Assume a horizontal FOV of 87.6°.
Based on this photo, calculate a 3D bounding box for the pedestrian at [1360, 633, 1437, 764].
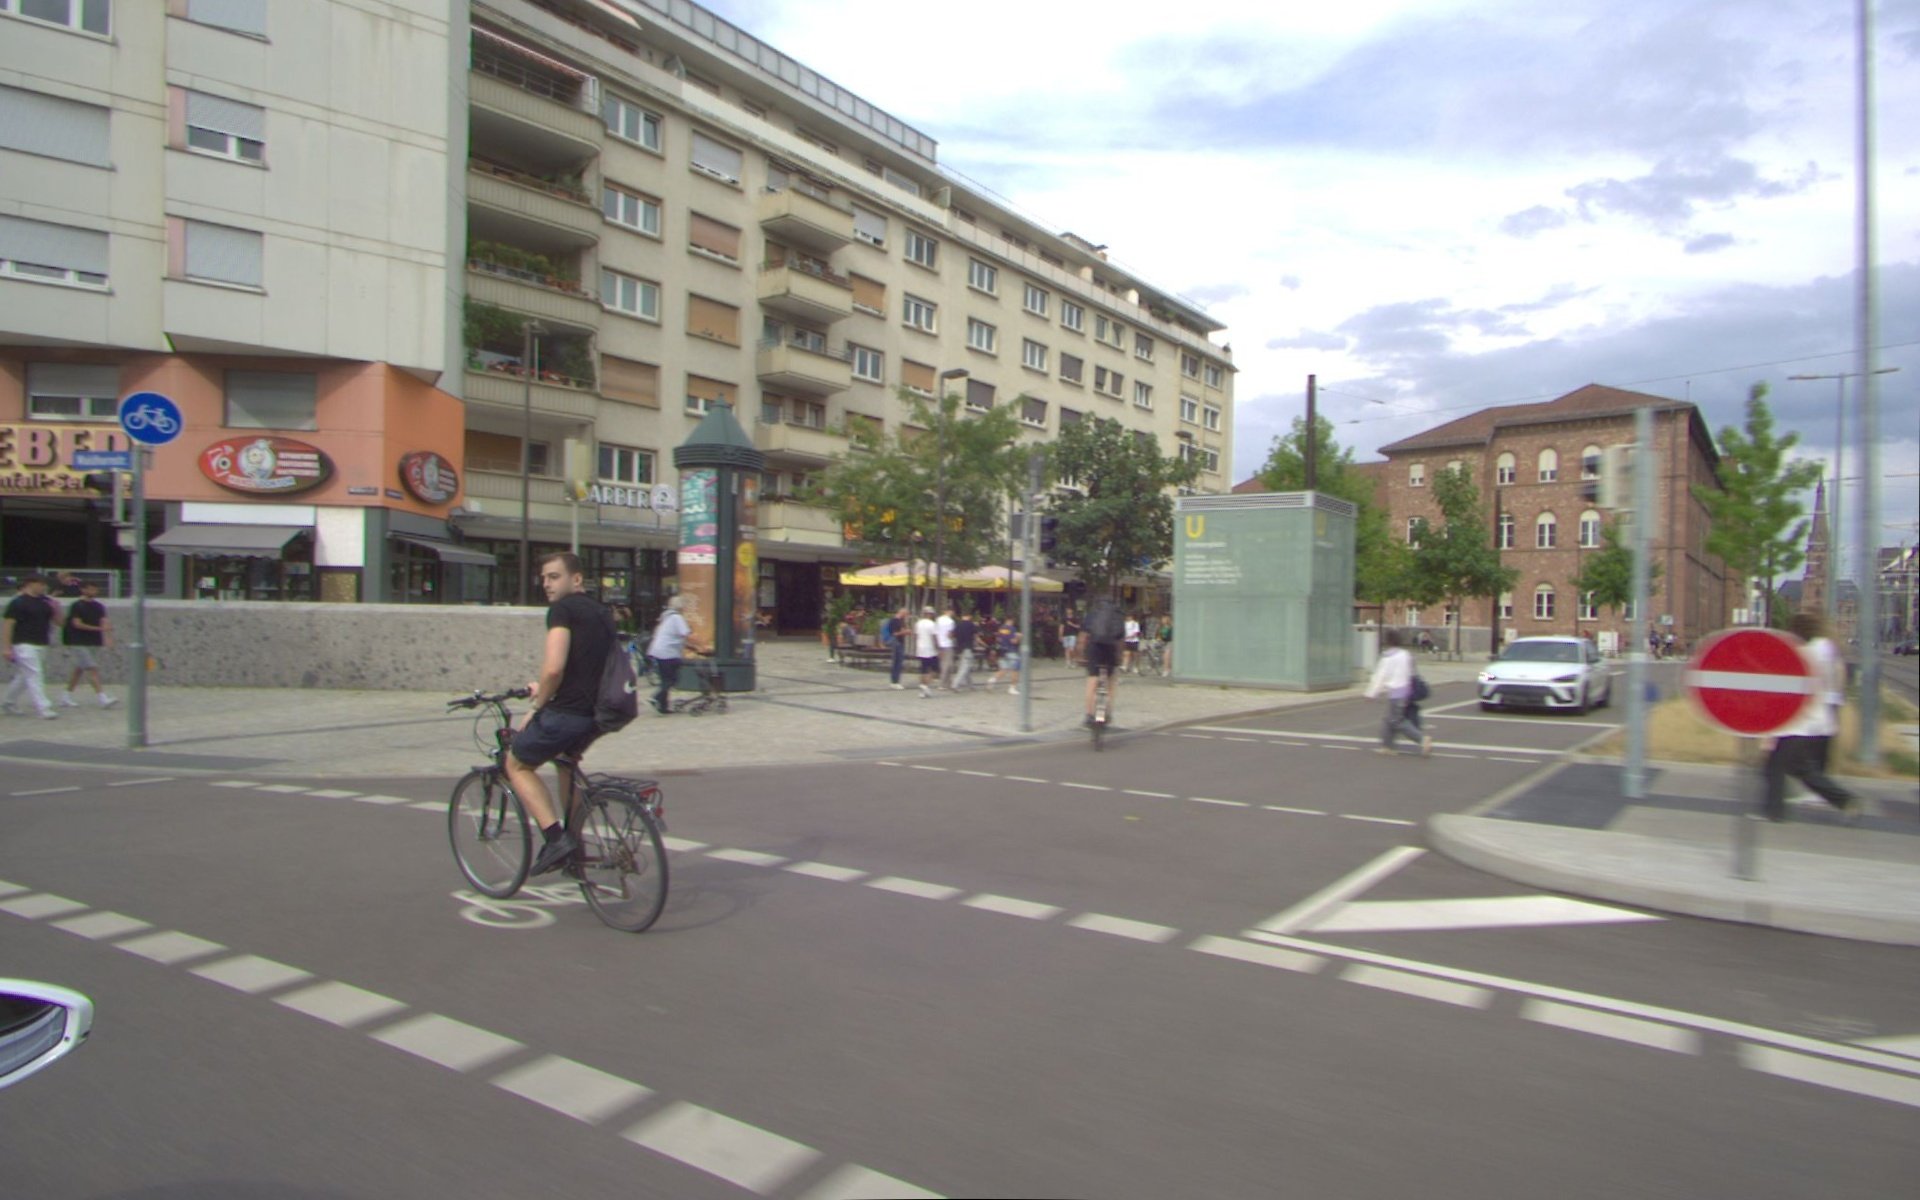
[{"bbox_3d":[5.344,1.171,12.215,0.833,1.520,0.551,0,0,25],"label":"pedestrian"}]

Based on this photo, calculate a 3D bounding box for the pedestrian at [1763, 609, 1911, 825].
[{"bbox_3d":[7.423,0.956,8.512,0.694,1.717,0.634,2,1,21],"label":"pedestrian"}]

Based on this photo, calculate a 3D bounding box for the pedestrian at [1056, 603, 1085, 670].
[{"bbox_3d":[3.212,1.050,29.096,0.577,1.892,0.545,4,2,36],"label":"pedestrian"}]

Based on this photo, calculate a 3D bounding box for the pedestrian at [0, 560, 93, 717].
[{"bbox_3d":[-12.338,0.494,13.313,0.995,1.998,0.720,2,3,-9],"label":"pedestrian"}]

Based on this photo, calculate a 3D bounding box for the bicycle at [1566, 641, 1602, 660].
[{"bbox_3d":[41.492,3.354,66.639,1.950,1.180,0.418,2,0,41],"label":"bicycle"}]

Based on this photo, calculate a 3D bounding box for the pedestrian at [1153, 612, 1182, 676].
[{"bbox_3d":[5.785,1.223,27.875,0.473,1.727,0.636,4,2,36],"label":"pedestrian"}]

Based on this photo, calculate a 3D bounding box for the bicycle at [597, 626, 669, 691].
[{"bbox_3d":[-6.177,1.074,19.050,0.534,1.027,2.448,2,1,0],"label":"bicycle"}]

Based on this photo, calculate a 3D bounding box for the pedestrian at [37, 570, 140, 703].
[{"bbox_3d":[-12.353,0.503,14.213,0.870,1.825,0.675,2,3,-9],"label":"pedestrian"}]

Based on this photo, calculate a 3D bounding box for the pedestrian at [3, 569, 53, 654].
[{"bbox_3d":[-19.109,0.234,20.537,0.578,1.696,0.473,2,3,-3],"label":"pedestrian"}]

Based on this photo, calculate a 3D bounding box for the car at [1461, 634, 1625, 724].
[{"bbox_3d":[11.655,1.455,19.884,1.977,1.531,4.566,0,-1,41],"label":"car"}]

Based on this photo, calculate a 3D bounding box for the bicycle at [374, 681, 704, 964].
[{"bbox_3d":[-2.206,1.045,5.125,1.986,1.136,0.405,1,0,29],"label":"bicycle"}]

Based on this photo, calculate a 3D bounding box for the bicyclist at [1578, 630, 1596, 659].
[{"bbox_3d":[41.622,2.937,66.481,0.851,1.846,0.499,3,1,41],"label":"bicyclist"}]

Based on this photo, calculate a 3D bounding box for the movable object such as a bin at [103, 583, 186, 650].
[{"bbox_3d":[-19.782,0.398,24.317,1.067,1.535,1.146,2,0,-5],"label":"movable object such as a bin"}]

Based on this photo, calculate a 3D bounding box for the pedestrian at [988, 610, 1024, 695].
[{"bbox_3d":[0.973,1.093,21.156,0.410,1.760,0.590,2,0,41],"label":"pedestrian"}]

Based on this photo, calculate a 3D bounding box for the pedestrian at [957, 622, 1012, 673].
[{"bbox_3d":[0.646,1.248,26.300,0.924,1.261,1.026,1,-2,44],"label":"pedestrian"}]

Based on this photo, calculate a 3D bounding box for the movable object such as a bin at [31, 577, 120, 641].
[{"bbox_3d":[-22.220,0.228,25.189,1.174,1.535,1.197,2,0,-5],"label":"movable object such as a bin"}]

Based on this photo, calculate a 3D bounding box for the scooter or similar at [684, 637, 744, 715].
[{"bbox_3d":[-3.761,1.150,15.308,0.693,1.125,0.604,1,2,-37],"label":"scooter or similar"}]

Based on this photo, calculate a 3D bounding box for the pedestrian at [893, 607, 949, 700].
[{"bbox_3d":[-0.735,1.014,18.993,0.619,1.701,0.800,1,-2,40],"label":"pedestrian"}]

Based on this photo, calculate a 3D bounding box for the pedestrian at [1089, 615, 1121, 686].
[{"bbox_3d":[3.459,1.200,23.878,0.434,1.663,0.673,2,0,41],"label":"pedestrian"}]

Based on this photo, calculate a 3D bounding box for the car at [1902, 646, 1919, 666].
[{"bbox_3d":[100.933,5.916,105.721,1.936,1.927,3.971,2,-3,41],"label":"car"}]

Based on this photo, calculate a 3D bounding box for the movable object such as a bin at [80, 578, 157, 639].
[{"bbox_3d":[-22.216,0.234,26.459,1.145,1.535,1.005,2,0,-5],"label":"movable object such as a bin"}]

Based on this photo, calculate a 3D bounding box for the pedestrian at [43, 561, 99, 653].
[{"bbox_3d":[-18.959,0.139,21.367,0.578,1.930,0.673,2,3,-3],"label":"pedestrian"}]

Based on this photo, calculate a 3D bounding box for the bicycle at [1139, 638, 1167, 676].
[{"bbox_3d":[5.420,1.586,28.069,0.286,1.009,1.133,2,0,35],"label":"bicycle"}]

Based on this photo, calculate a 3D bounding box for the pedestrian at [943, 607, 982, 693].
[{"bbox_3d":[0.060,1.039,20.970,0.410,1.760,0.696,2,0,41],"label":"pedestrian"}]

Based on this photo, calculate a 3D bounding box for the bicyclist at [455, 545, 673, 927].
[{"bbox_3d":[-1.966,0.612,4.980,0.849,1.732,0.558,2,0,30],"label":"bicyclist"}]

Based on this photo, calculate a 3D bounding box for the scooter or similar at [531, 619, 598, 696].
[{"bbox_3d":[-6.661,0.960,16.863,1.105,1.228,0.286,2,0,18],"label":"scooter or similar"}]

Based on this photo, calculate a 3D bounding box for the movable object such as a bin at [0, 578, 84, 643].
[{"bbox_3d":[-22.068,0.248,23.942,1.200,1.479,1.148,2,0,-5],"label":"movable object such as a bin"}]

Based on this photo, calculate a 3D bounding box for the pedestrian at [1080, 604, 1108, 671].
[{"bbox_3d":[3.911,1.089,29.233,0.577,1.892,0.487,4,2,36],"label":"pedestrian"}]

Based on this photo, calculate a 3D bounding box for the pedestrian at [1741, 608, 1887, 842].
[{"bbox_3d":[6.625,0.929,7.803,0.785,1.708,0.467,2,0,36],"label":"pedestrian"}]

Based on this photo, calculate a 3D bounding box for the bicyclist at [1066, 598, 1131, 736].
[{"bbox_3d":[1.834,0.857,13.175,0.687,1.732,0.907,2,0,15],"label":"bicyclist"}]

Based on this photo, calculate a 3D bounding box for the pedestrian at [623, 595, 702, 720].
[{"bbox_3d":[-4.406,0.832,14.827,0.926,1.763,0.680,1,1,-35],"label":"pedestrian"}]

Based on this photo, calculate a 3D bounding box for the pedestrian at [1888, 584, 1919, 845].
[{"bbox_3d":[7.372,0.843,7.248,0.866,1.879,0.636,3,1,41],"label":"pedestrian"}]

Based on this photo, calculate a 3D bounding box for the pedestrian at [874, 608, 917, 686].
[{"bbox_3d":[-1.355,0.992,21.115,0.410,1.597,0.814,2,0,42],"label":"pedestrian"}]

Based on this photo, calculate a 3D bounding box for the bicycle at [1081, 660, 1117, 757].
[{"bbox_3d":[1.842,1.379,13.162,0.384,1.136,1.920,0,-2,10],"label":"bicycle"}]

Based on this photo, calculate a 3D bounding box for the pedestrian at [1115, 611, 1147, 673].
[{"bbox_3d":[4.905,1.206,28.704,0.577,1.727,0.636,4,2,36],"label":"pedestrian"}]
